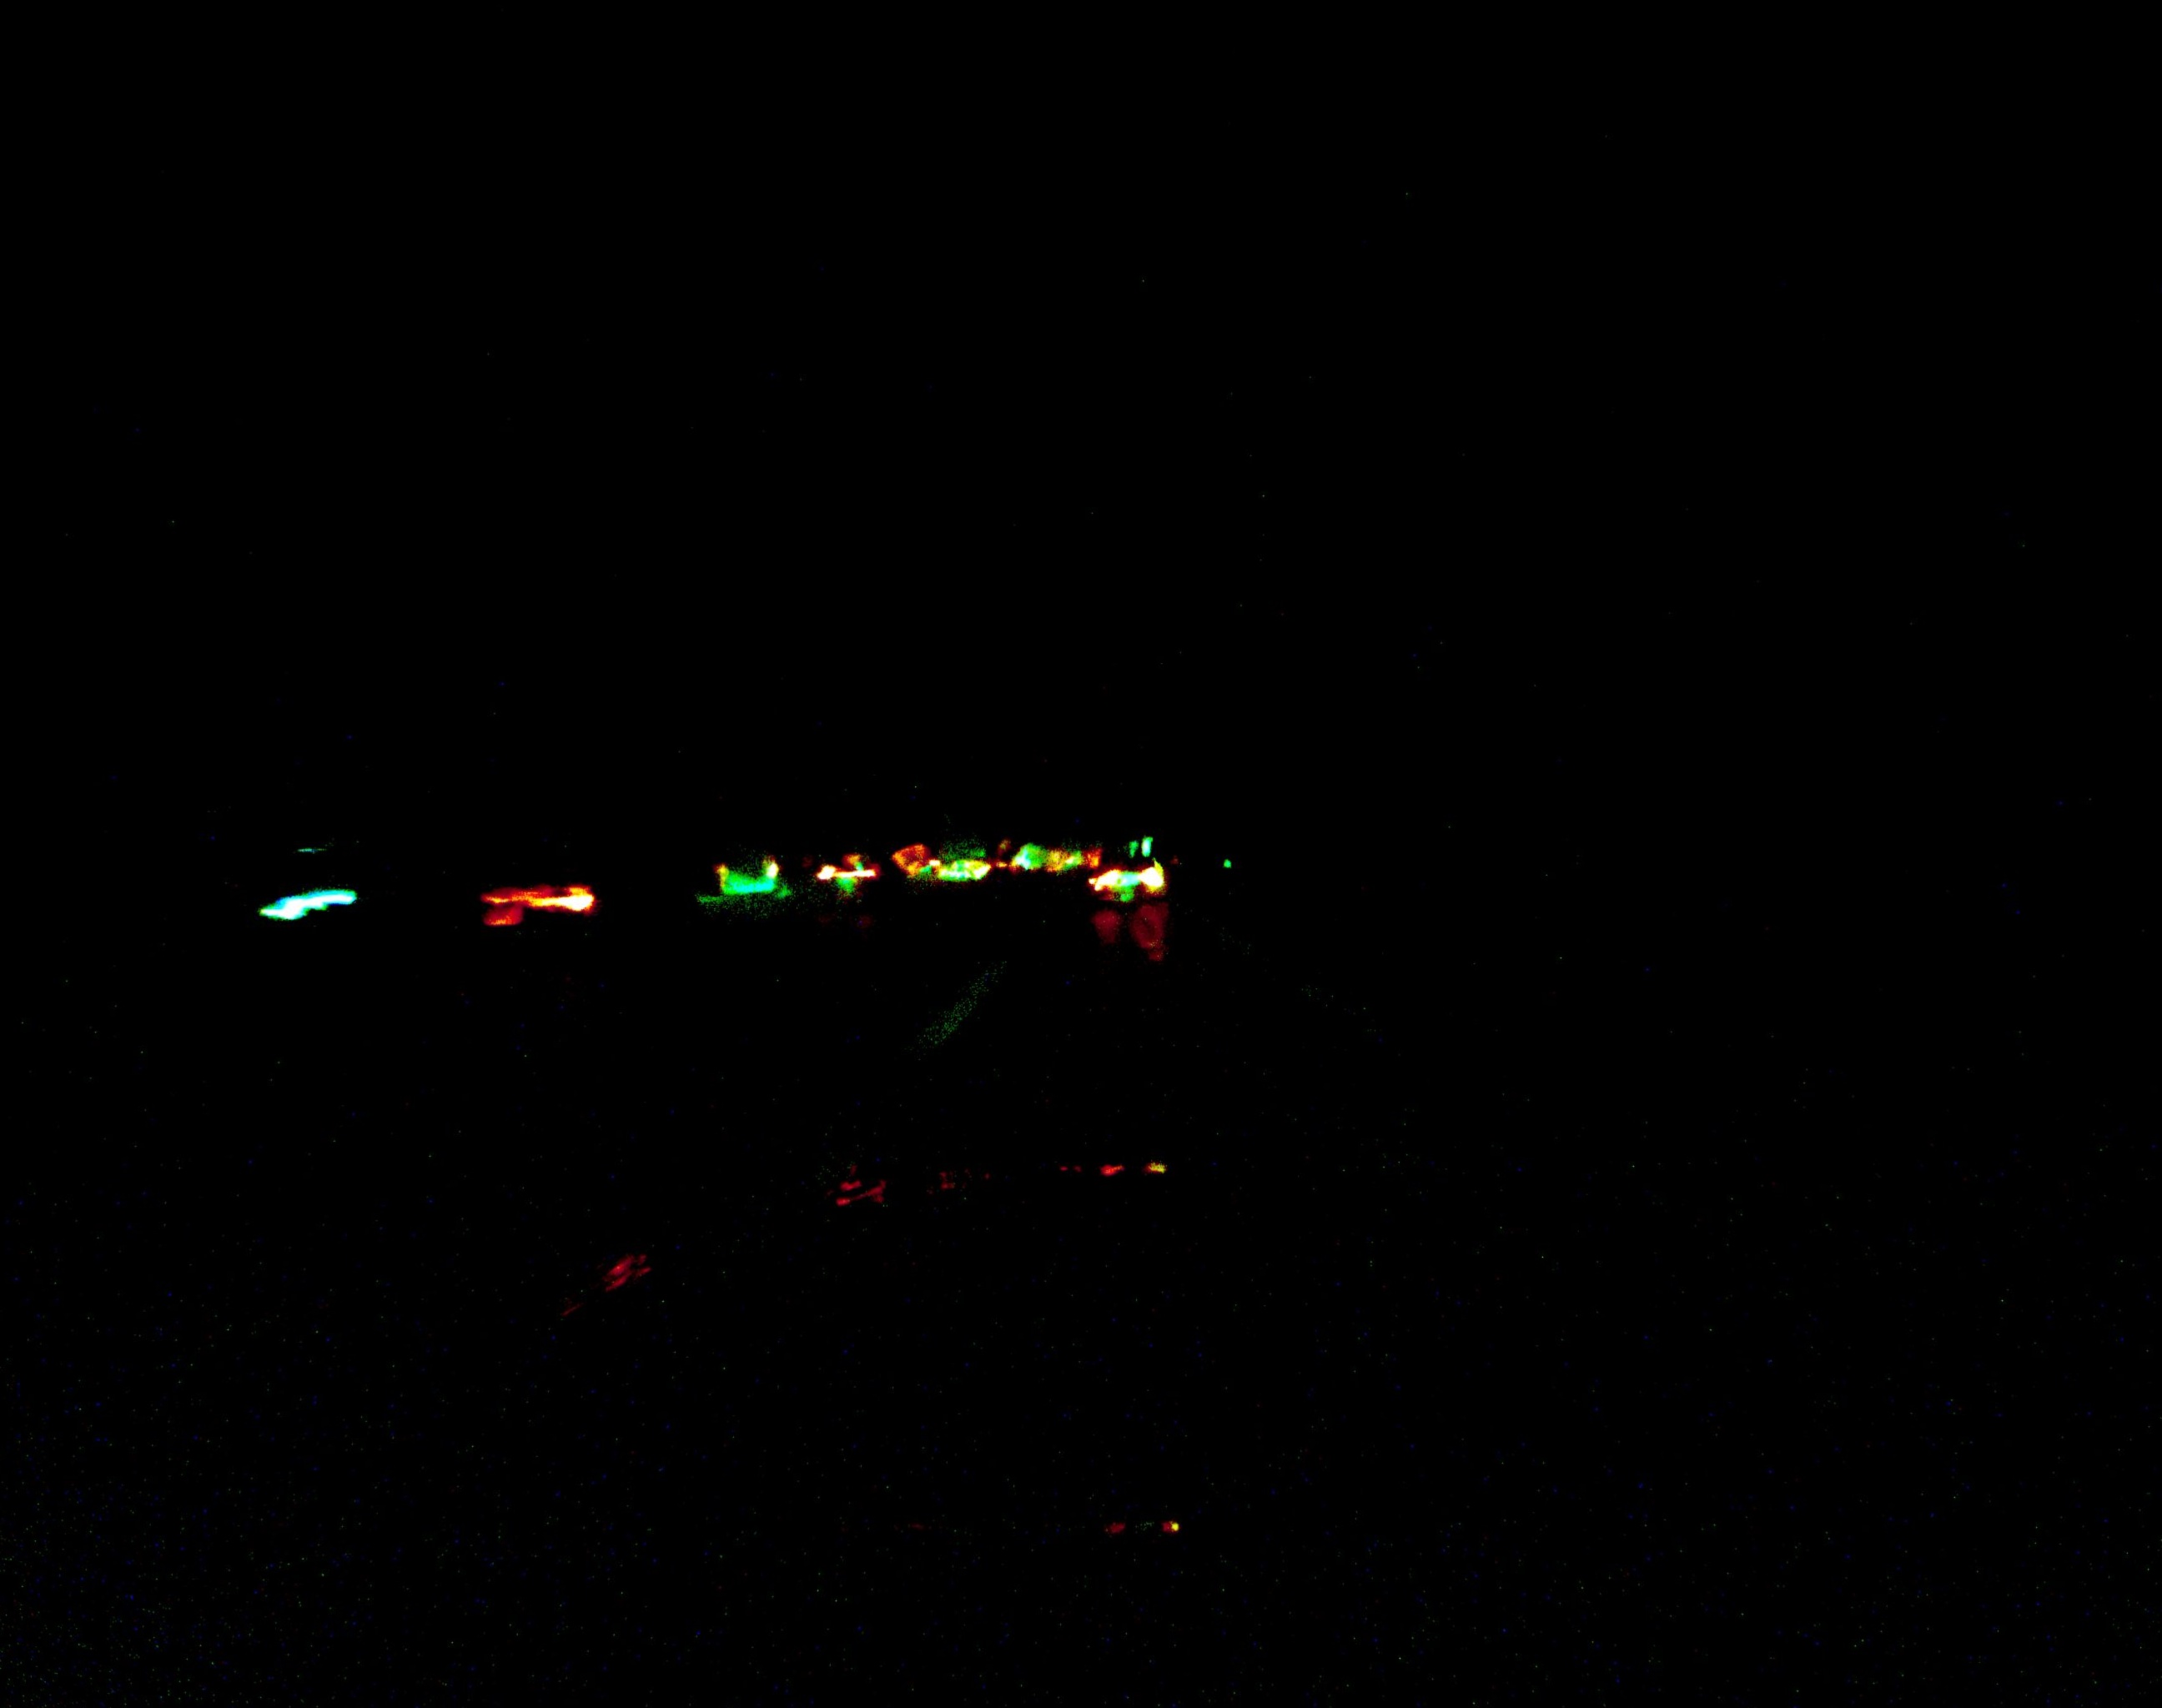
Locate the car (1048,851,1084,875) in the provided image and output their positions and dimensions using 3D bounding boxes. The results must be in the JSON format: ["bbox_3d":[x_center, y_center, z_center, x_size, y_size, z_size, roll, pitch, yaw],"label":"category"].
[{"bbox_3d":[-1.280,0.780,72.419,2.822,2.013,5.513,0,0,2],"label":"car"}]

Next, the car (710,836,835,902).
[{"bbox_3d":[-10.797,0.480,29.057,2.115,2.104,5.632,-1,0,2],"label":"car"}]

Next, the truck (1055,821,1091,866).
[{"bbox_3d":[-0.972,-1.162,99.571,4.150,5.215,9.949,0,0,-1],"label":"truck"}]

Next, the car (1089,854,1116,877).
[{"bbox_3d":[1.622,0.850,61.813,1.986,1.704,4.460,0,0,2],"label":"car"}]

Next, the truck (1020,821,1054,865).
[{"bbox_3d":[-5.662,-1.339,107.280,4.243,5.444,10.876,0,0,-2],"label":"truck"}]

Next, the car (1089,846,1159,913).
[{"bbox_3d":[1.225,0.682,23.665,1.870,1.762,4.002,0,0,2],"label":"car"}]

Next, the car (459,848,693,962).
[{"bbox_3d":[-8.638,0.765,14.399,1.761,1.689,3.996,-1,1,-3],"label":"car"}]

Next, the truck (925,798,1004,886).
[{"bbox_3d":[-6.682,-0.633,48.401,3.647,4.737,9.843,0,0,-3],"label":"truck"}]

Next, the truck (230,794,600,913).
[{"bbox_3d":[-30.835,-0.006,40.139,3.397,4.558,17.604,0,0,1],"label":"truck"}]

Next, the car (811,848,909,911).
[{"bbox_3d":[-6.710,0.731,25.207,2.034,1.761,4.510,0,0,-4],"label":"car"}]

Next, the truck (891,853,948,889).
[{"bbox_3d":[-10.562,1.067,53.802,2.850,2.201,5.852,0,0,-3],"label":"truck"}]
